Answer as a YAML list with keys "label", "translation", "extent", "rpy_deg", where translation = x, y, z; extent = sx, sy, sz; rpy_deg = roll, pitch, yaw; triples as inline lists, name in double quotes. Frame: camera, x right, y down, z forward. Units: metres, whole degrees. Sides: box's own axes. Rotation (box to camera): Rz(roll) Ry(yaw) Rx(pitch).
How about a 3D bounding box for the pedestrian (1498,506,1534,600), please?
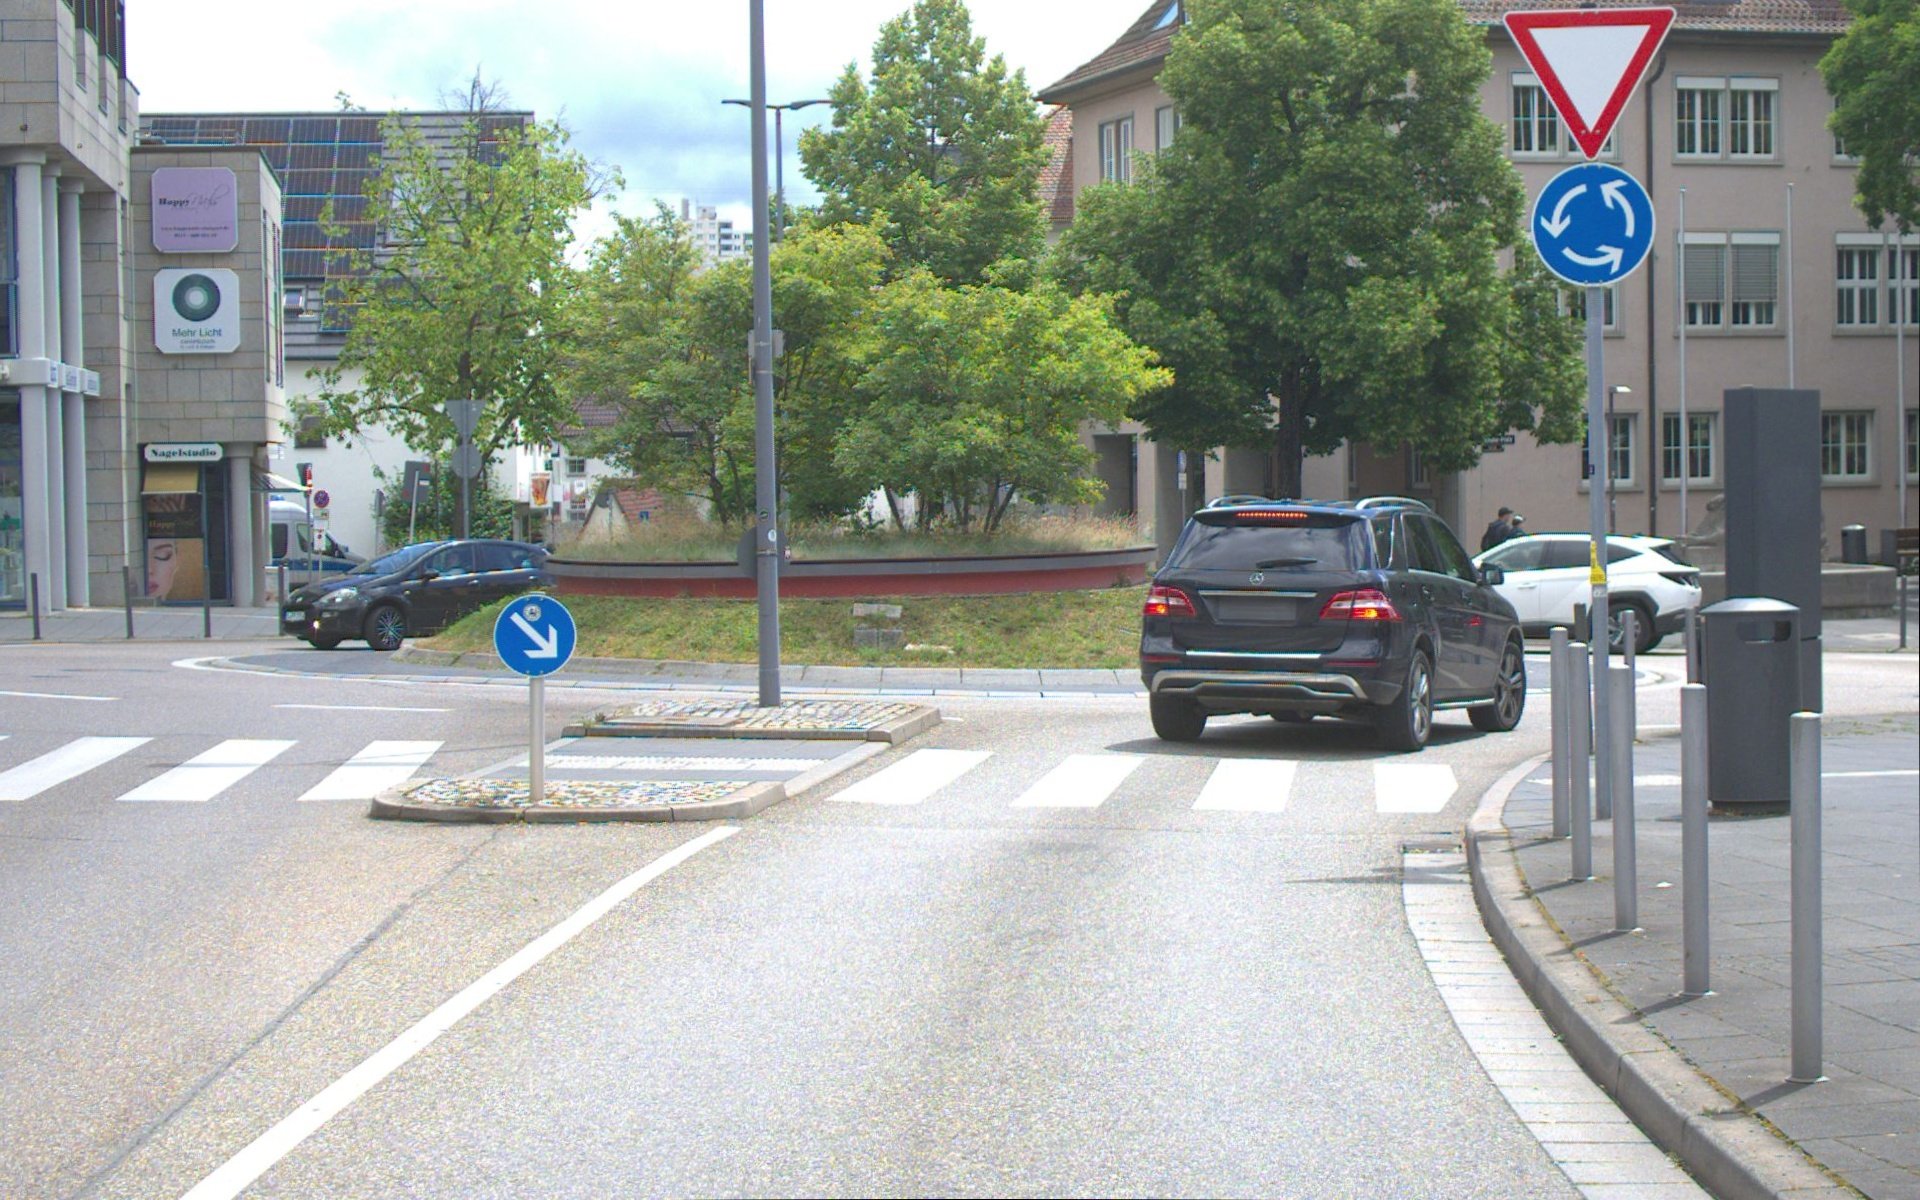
- label: "pedestrian"
  translation: [9.789, -0.833, 60.508]
  extent: [0.572, 1.603, 0.437]
  rpy_deg: [2, 5, 11]

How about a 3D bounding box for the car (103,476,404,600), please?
- label: "car"
  translation: [-15.876, -1.360, 77.311]
  extent: [6.283, 2.551, 2.207]
  rpy_deg: [1, -2, -23]

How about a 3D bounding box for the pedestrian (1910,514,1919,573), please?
- label: "pedestrian"
  translation: [19.334, -1.121, 68.714]
  extent: [0.487, 1.178, 0.579]
  rpy_deg: [2, 2, 34]

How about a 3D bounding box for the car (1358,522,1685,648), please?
- label: "car"
  translation: [7.687, -0.209, 46.941]
  extent: [4.257, 1.571, 1.848]
  rpy_deg: [-1, 1, 14]

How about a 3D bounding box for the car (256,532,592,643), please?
- label: "car"
  translation: [-7.148, -0.137, 45.930]
  extent: [4.105, 1.414, 1.704]
  rpy_deg: [1, -1, -30]

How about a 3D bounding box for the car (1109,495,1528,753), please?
- label: "car"
  translation: [2.750, 0.089, 25.394]
  extent: [2.029, 1.721, 4.429]
  rpy_deg: [1, 2, 20]

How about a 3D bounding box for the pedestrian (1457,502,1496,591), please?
- label: "pedestrian"
  translation: [9.130, -0.952, 60.764]
  extent: [0.637, 1.518, 0.577]
  rpy_deg: [1, 5, 10]
